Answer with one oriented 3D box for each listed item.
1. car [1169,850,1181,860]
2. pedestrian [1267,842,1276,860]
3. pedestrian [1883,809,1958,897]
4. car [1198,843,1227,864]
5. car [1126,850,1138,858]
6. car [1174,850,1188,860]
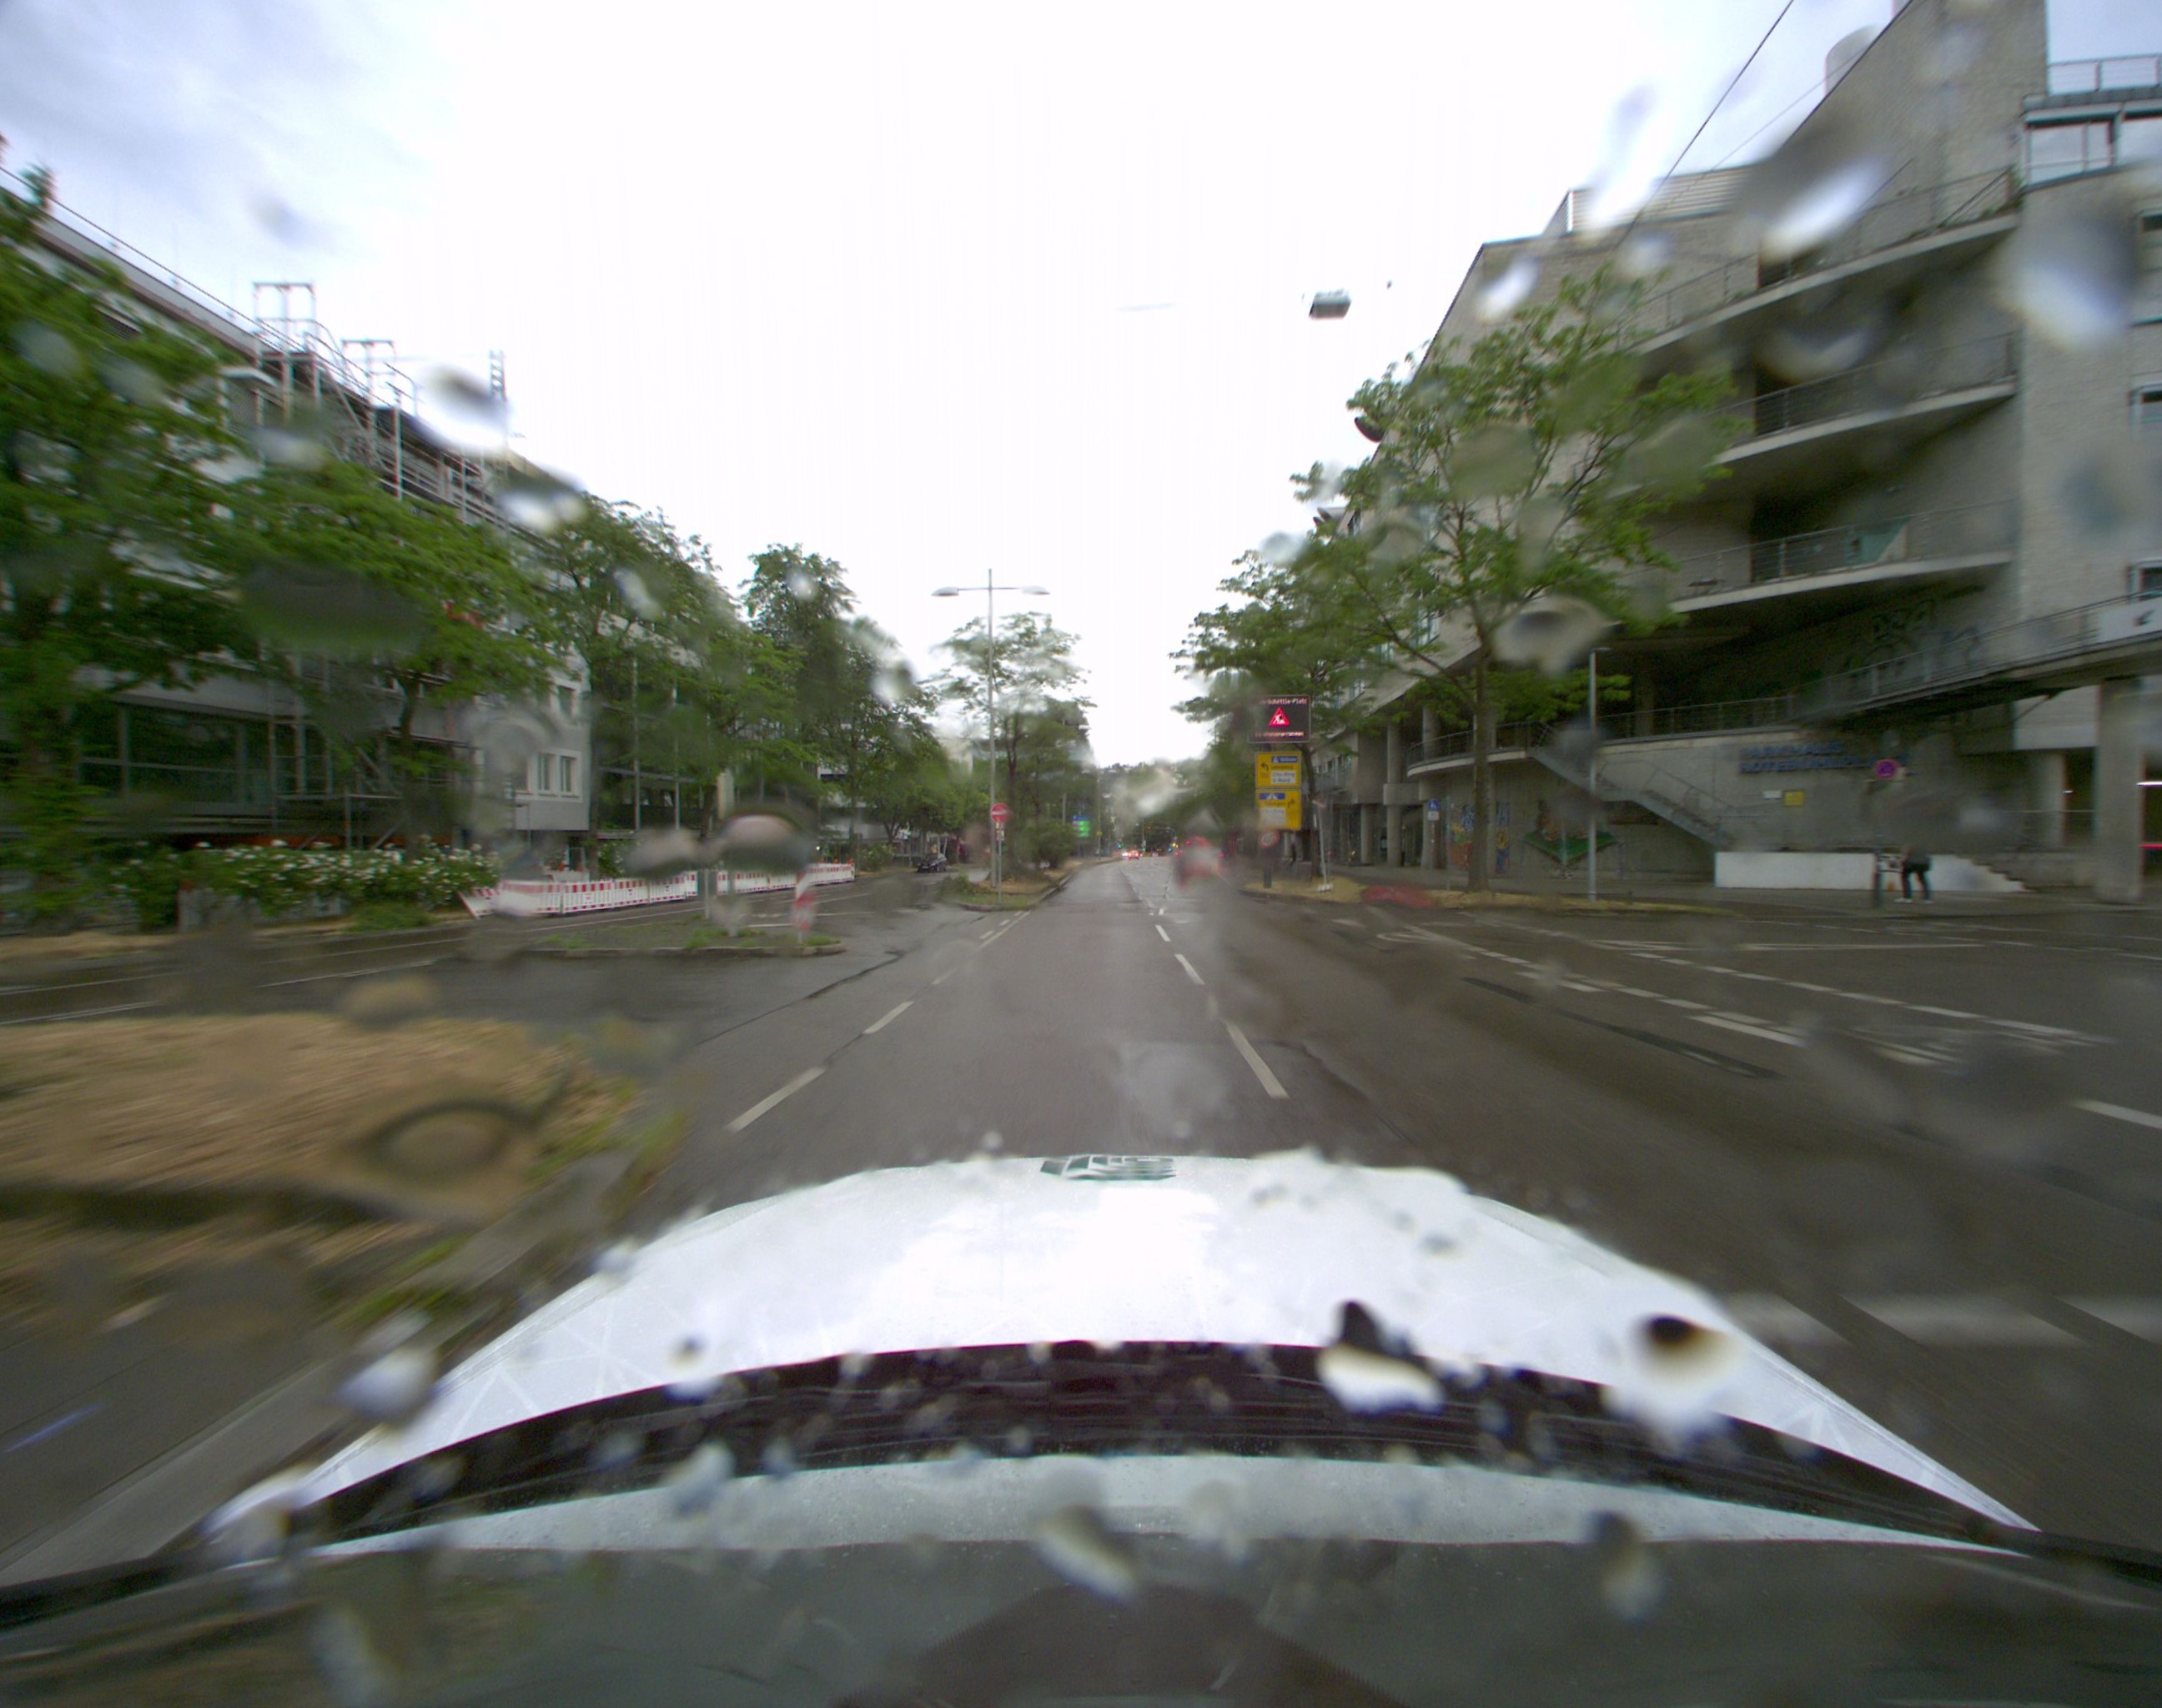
[{"bbox_3d":[17.579,0.244,152.615,1.986,1.736,4.001,-1,-1,2],"label":"car"},{"bbox_3d":[20.710,-0.290,88.729,0.772,1.920,0.702,-1,-1,1],"label":"pedestrian"},{"bbox_3d":[18.689,-0.023,18.147,0.843,1.910,0.758,-1,0,1],"label":"pedestrian"},{"bbox_3d":[11.173,-0.076,69.327,2.324,1.691,4.010,-1,0,9],"label":"car"},{"bbox_3d":[9.610,0.013,152.825,1.823,1.640,4.297,0,-1,-1],"label":"car"},{"bbox_3d":[17.338,0.179,141.451,1.986,1.724,4.000,-1,-1,1],"label":"car"}]
